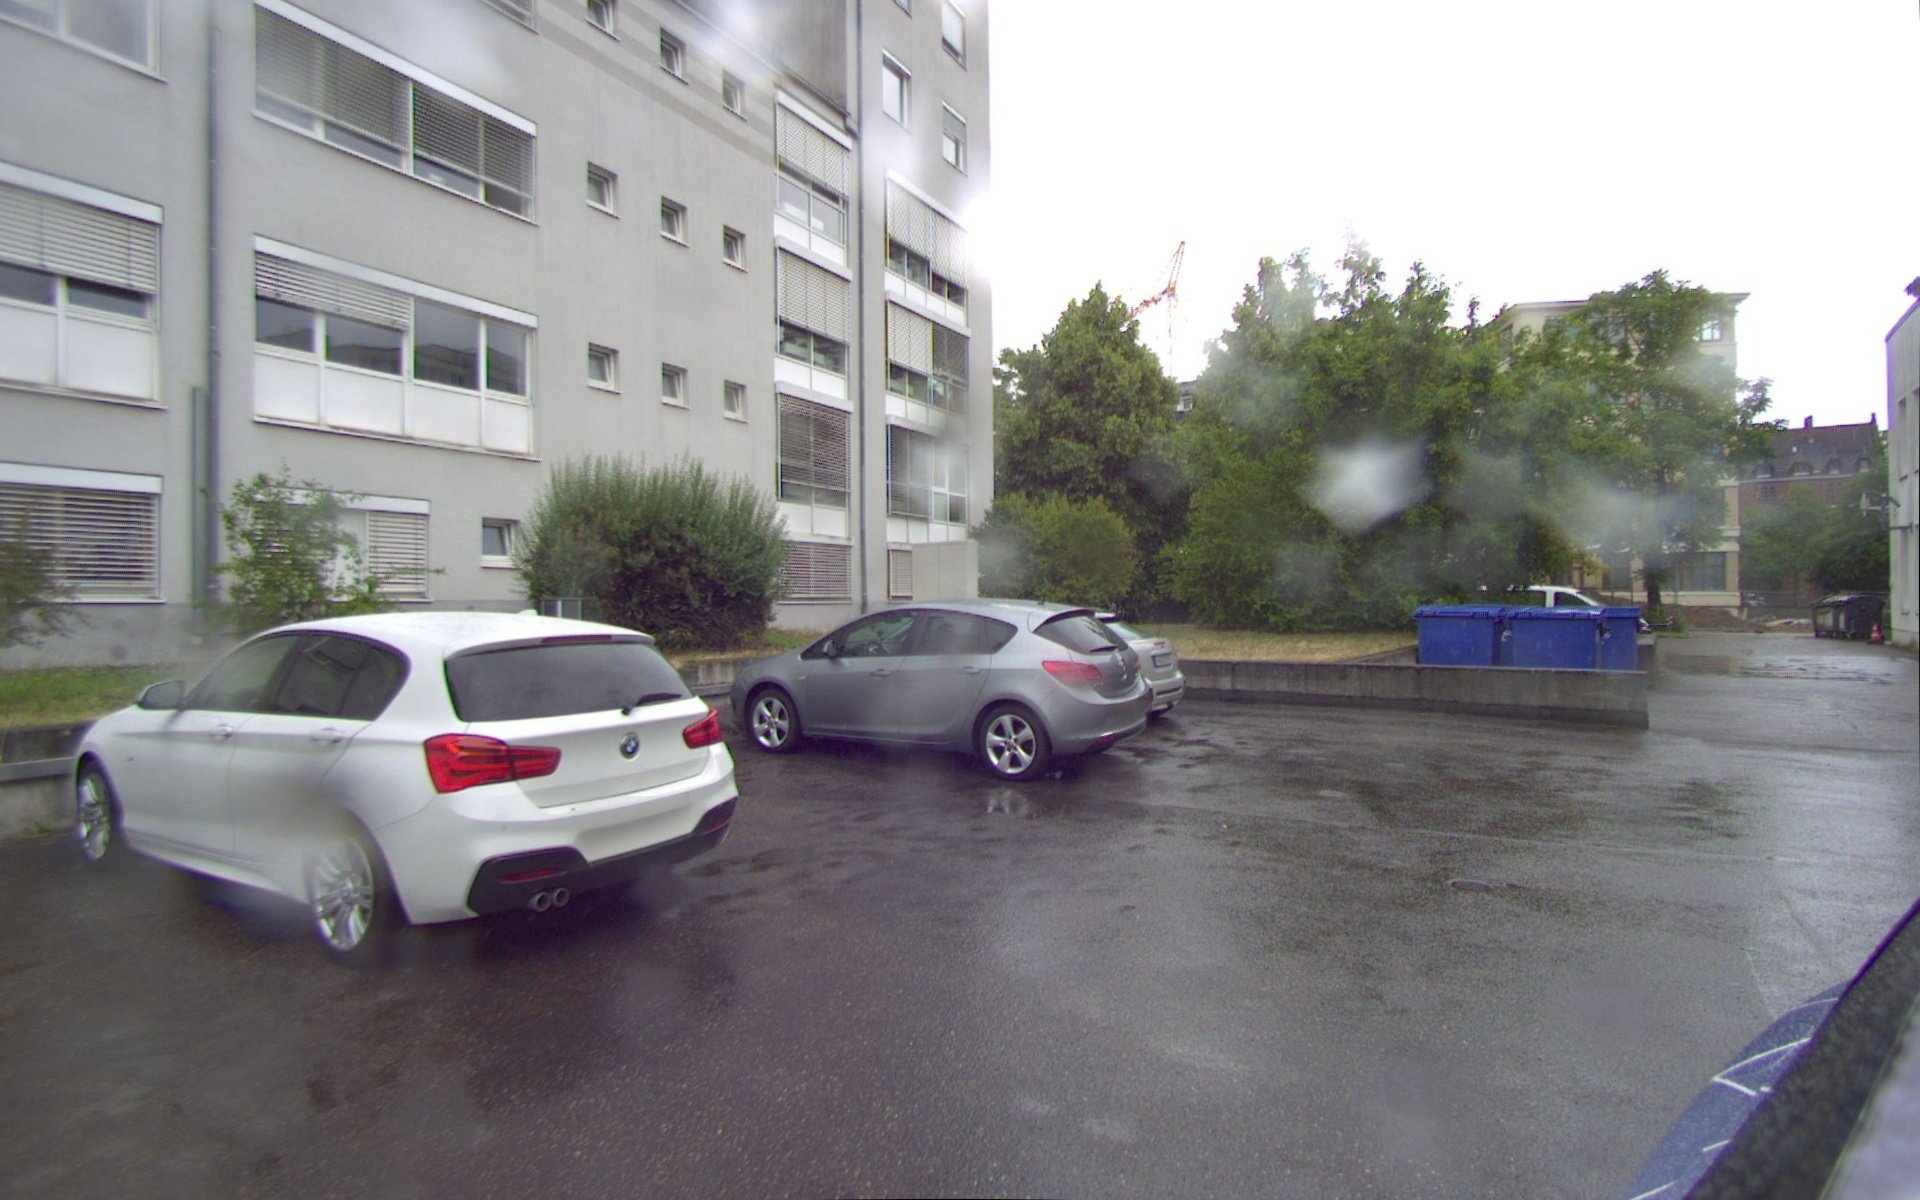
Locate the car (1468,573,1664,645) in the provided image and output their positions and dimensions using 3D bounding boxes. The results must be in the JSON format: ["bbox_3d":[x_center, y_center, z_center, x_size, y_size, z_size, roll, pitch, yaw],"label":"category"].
[{"bbox_3d":[17.642,0.350,29.580,4.671,1.907,2.093,-2,-4,38],"label":"car"}]

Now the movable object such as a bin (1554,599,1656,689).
[{"bbox_3d":[10.587,0.713,16.587,1.305,1.376,1.880,-2,-3,35],"label":"movable object such as a bin"}]

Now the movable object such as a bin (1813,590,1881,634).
[{"bbox_3d":[30.621,0.433,34.969,1.480,1.467,1.299,-2,-3,31],"label":"movable object such as a bin"}]

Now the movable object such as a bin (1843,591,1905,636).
[{"bbox_3d":[29.263,0.442,32.435,1.178,1.392,1.299,-2,-3,30],"label":"movable object such as a bin"}]

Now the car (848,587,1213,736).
[{"bbox_3d":[0.828,0.648,12.815,4.192,1.508,1.976,2,0,34],"label":"car"}]

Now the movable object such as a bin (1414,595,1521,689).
[{"bbox_3d":[8.075,0.662,16.069,1.225,1.376,1.945,-2,-3,35],"label":"movable object such as a bin"}]

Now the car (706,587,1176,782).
[{"bbox_3d":[-0.253,0.686,9.804,4.188,1.509,1.977,-1,-1,32],"label":"car"}]

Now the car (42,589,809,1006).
[{"bbox_3d":[-3.081,0.744,5.645,4.188,1.509,1.977,-1,-1,32],"label":"car"}]

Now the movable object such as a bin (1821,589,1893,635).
[{"bbox_3d":[29.942,0.422,33.820,1.480,1.467,1.299,-2,-3,31],"label":"movable object such as a bin"}]

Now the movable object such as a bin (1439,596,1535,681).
[{"bbox_3d":[9.221,0.674,17.676,1.225,1.376,1.945,-2,-3,35],"label":"movable object such as a bin"}]

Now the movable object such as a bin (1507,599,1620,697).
[{"bbox_3d":[9.142,0.715,15.299,1.305,1.376,1.880,-2,-3,35],"label":"movable object such as a bin"}]
